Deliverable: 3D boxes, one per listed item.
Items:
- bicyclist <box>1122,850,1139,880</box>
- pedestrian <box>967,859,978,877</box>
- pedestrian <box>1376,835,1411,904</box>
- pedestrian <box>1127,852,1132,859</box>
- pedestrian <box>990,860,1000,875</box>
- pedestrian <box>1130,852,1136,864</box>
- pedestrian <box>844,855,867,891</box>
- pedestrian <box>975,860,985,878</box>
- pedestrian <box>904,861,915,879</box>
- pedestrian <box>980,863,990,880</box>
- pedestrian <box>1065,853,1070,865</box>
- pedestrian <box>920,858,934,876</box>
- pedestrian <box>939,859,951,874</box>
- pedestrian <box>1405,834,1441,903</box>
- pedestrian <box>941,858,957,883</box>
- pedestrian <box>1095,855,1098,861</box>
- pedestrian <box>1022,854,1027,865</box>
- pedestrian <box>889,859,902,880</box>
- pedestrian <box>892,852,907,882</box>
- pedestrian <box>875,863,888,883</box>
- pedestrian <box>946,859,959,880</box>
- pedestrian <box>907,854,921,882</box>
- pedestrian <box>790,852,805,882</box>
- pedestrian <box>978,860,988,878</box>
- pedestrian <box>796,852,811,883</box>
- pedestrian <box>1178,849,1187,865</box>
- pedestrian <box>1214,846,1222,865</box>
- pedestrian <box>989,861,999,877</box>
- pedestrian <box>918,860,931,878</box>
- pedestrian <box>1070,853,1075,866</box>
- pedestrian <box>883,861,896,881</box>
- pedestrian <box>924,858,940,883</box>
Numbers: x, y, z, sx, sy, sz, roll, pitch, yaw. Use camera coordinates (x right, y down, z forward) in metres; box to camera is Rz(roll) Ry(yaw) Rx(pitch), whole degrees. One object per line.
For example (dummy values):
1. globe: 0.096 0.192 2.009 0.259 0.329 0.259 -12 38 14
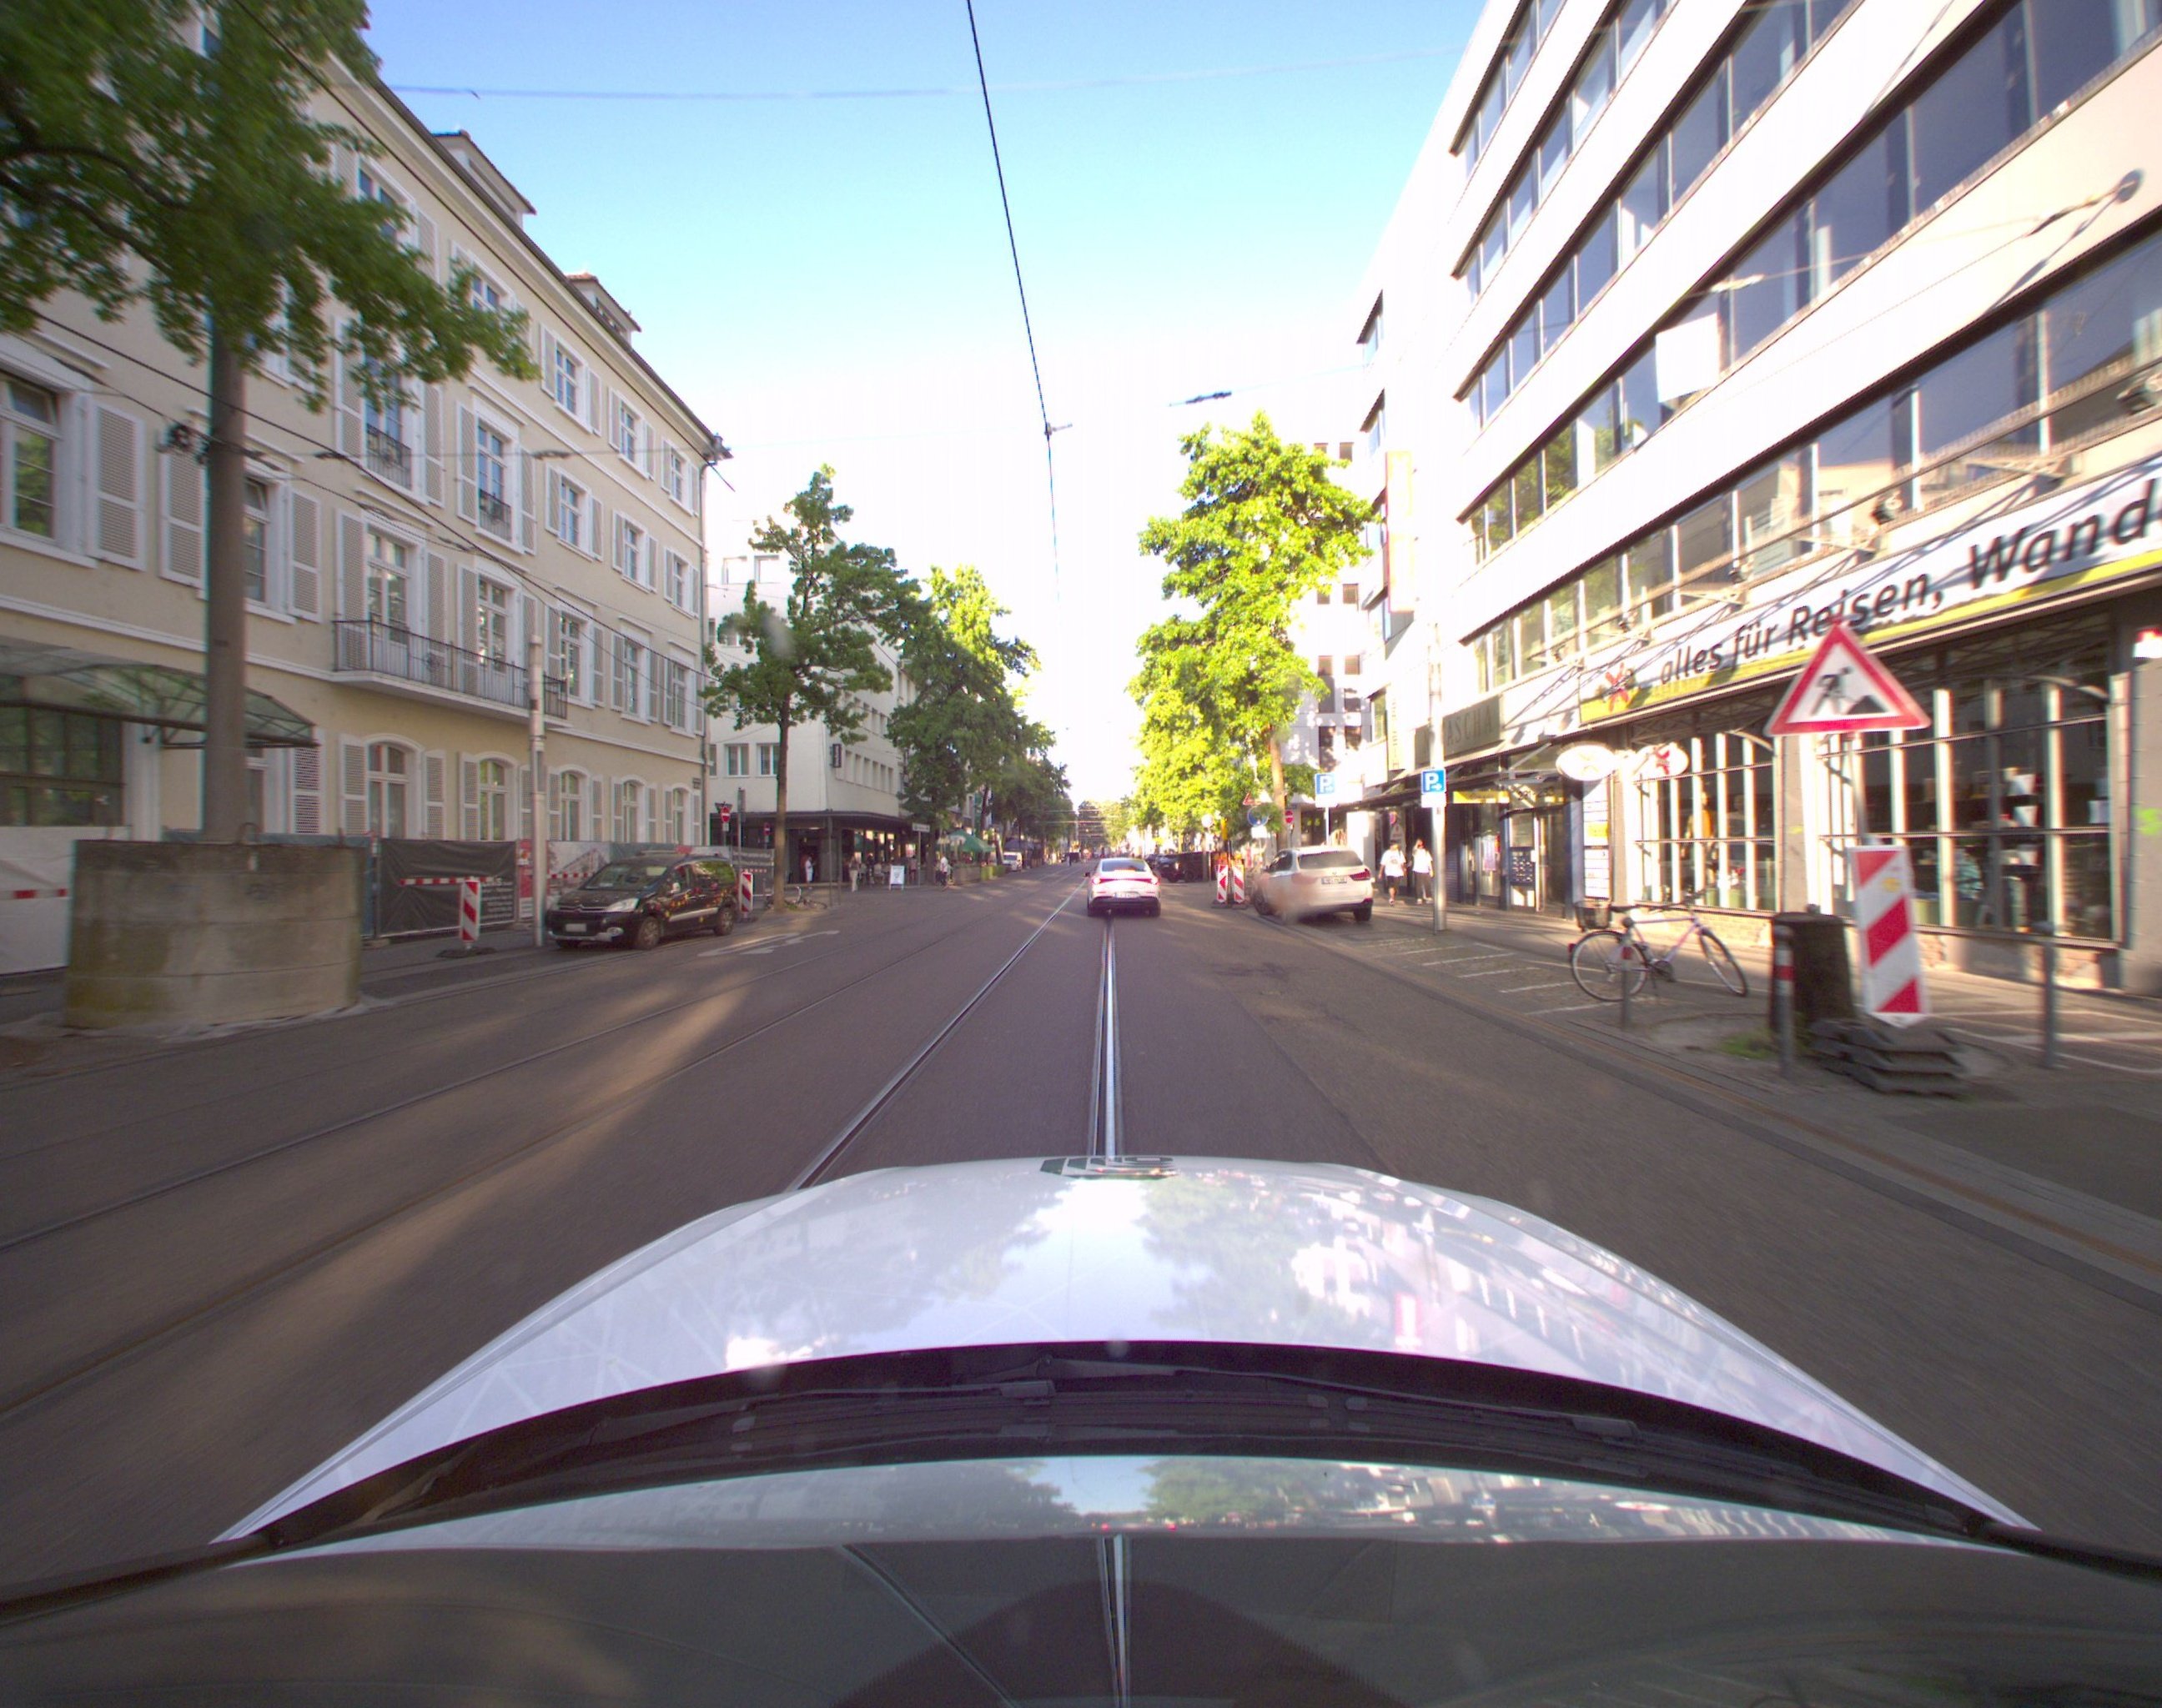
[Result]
1. bicyclist: 2.701 0.575 44.510 0.772 1.613 0.915 1 0 11
2. pedestrian: -7.780 1.009 58.247 0.616 1.245 0.697 2 0 1
3. pedestrian: 8.446 0.424 22.028 0.702 1.830 0.635 -1 0 1
4. pedestrian: 11.918 0.409 199.731 0.957 1.785 0.804 -3 0 1
5. pedestrian: -6.925 1.057 65.434 0.654 1.193 0.798 2 0 1
6. pedestrian: 8.051 0.563 126.000 0.838 1.801 0.791 1 0 3
7. pedestrian: -10.665 0.875 38.576 0.704 1.656 0.968 -1 0 3
8. pedestrian: -7.126 1.062 57.500 0.616 1.245 0.697 2 0 1
9. pedestrian: -11.052 1.029 52.556 0.550 1.161 0.687 1 0 2
10. pedestrian: -7.598 1.385 64.689 0.654 1.293 0.798 2 0 1
11. pedestrian: -1.713 0.630 102.656 0.620 1.509 0.834 1 0 2
12. pedestrian: -11.152 0.933 59.111 0.774 1.237 0.945 2 0 1
13. pedestrian: -10.887 0.971 65.215 0.750 1.188 1.065 2 0 1
14. pedestrian: 9.279 0.392 22.091 0.685 1.830 0.635 -1 0 1
15. pedestrian: -7.402 0.917 45.685 0.686 1.386 0.807 1 0 3
16. pedestrian: 4.323 1.184 229.141 0.797 1.782 0.849 1 0 1
17. pedestrian: -8.097 0.737 115.882 0.595 1.533 0.672 1 0 2
18. pedestrian: -11.502 0.978 50.477 0.600 1.298 0.687 1 0 2
19. pedestrian: -10.576 0.757 47.441 0.675 1.757 0.697 1 0 3
20. pedestrian: -11.830 1.125 48.374 0.550 1.161 0.687 1 0 2
21. pedestrian: -8.257 0.971 52.272 0.686 1.312 0.807 1 0 3
22. pedestrian: -9.812 0.824 47.901 0.616 1.670 0.697 1 0 1
23. pedestrian: -15.204 0.702 43.659 0.399 1.604 0.625 -1 0 35
24. pedestrian: -7.003 1.045 58.321 0.616 1.245 0.697 2 0 1
25. pedestrian: -14.644 0.689 42.993 0.399 1.604 0.625 -1 0 35
26. pedestrian: 11.413 0.309 91.291 0.680 1.731 0.636 -4 0 44
27. pedestrian: 12.736 0.122 75.608 0.555 1.750 0.525 -3 0 2
28. pedestrian: -6.899 1.202 64.396 0.654 1.244 0.873 2 0 1
29. pedestrian: -11.172 1.045 58.028 0.734 1.232 0.788 2 0 1
30. pedestrian: -1.056 0.695 103.715 0.620 1.550 0.853 1 0 2
31. pedestrian: -11.332 0.986 48.127 0.550 1.161 0.687 1 0 2
32. pedestrian: -8.385 0.899 45.819 0.686 1.386 0.807 1 0 3
